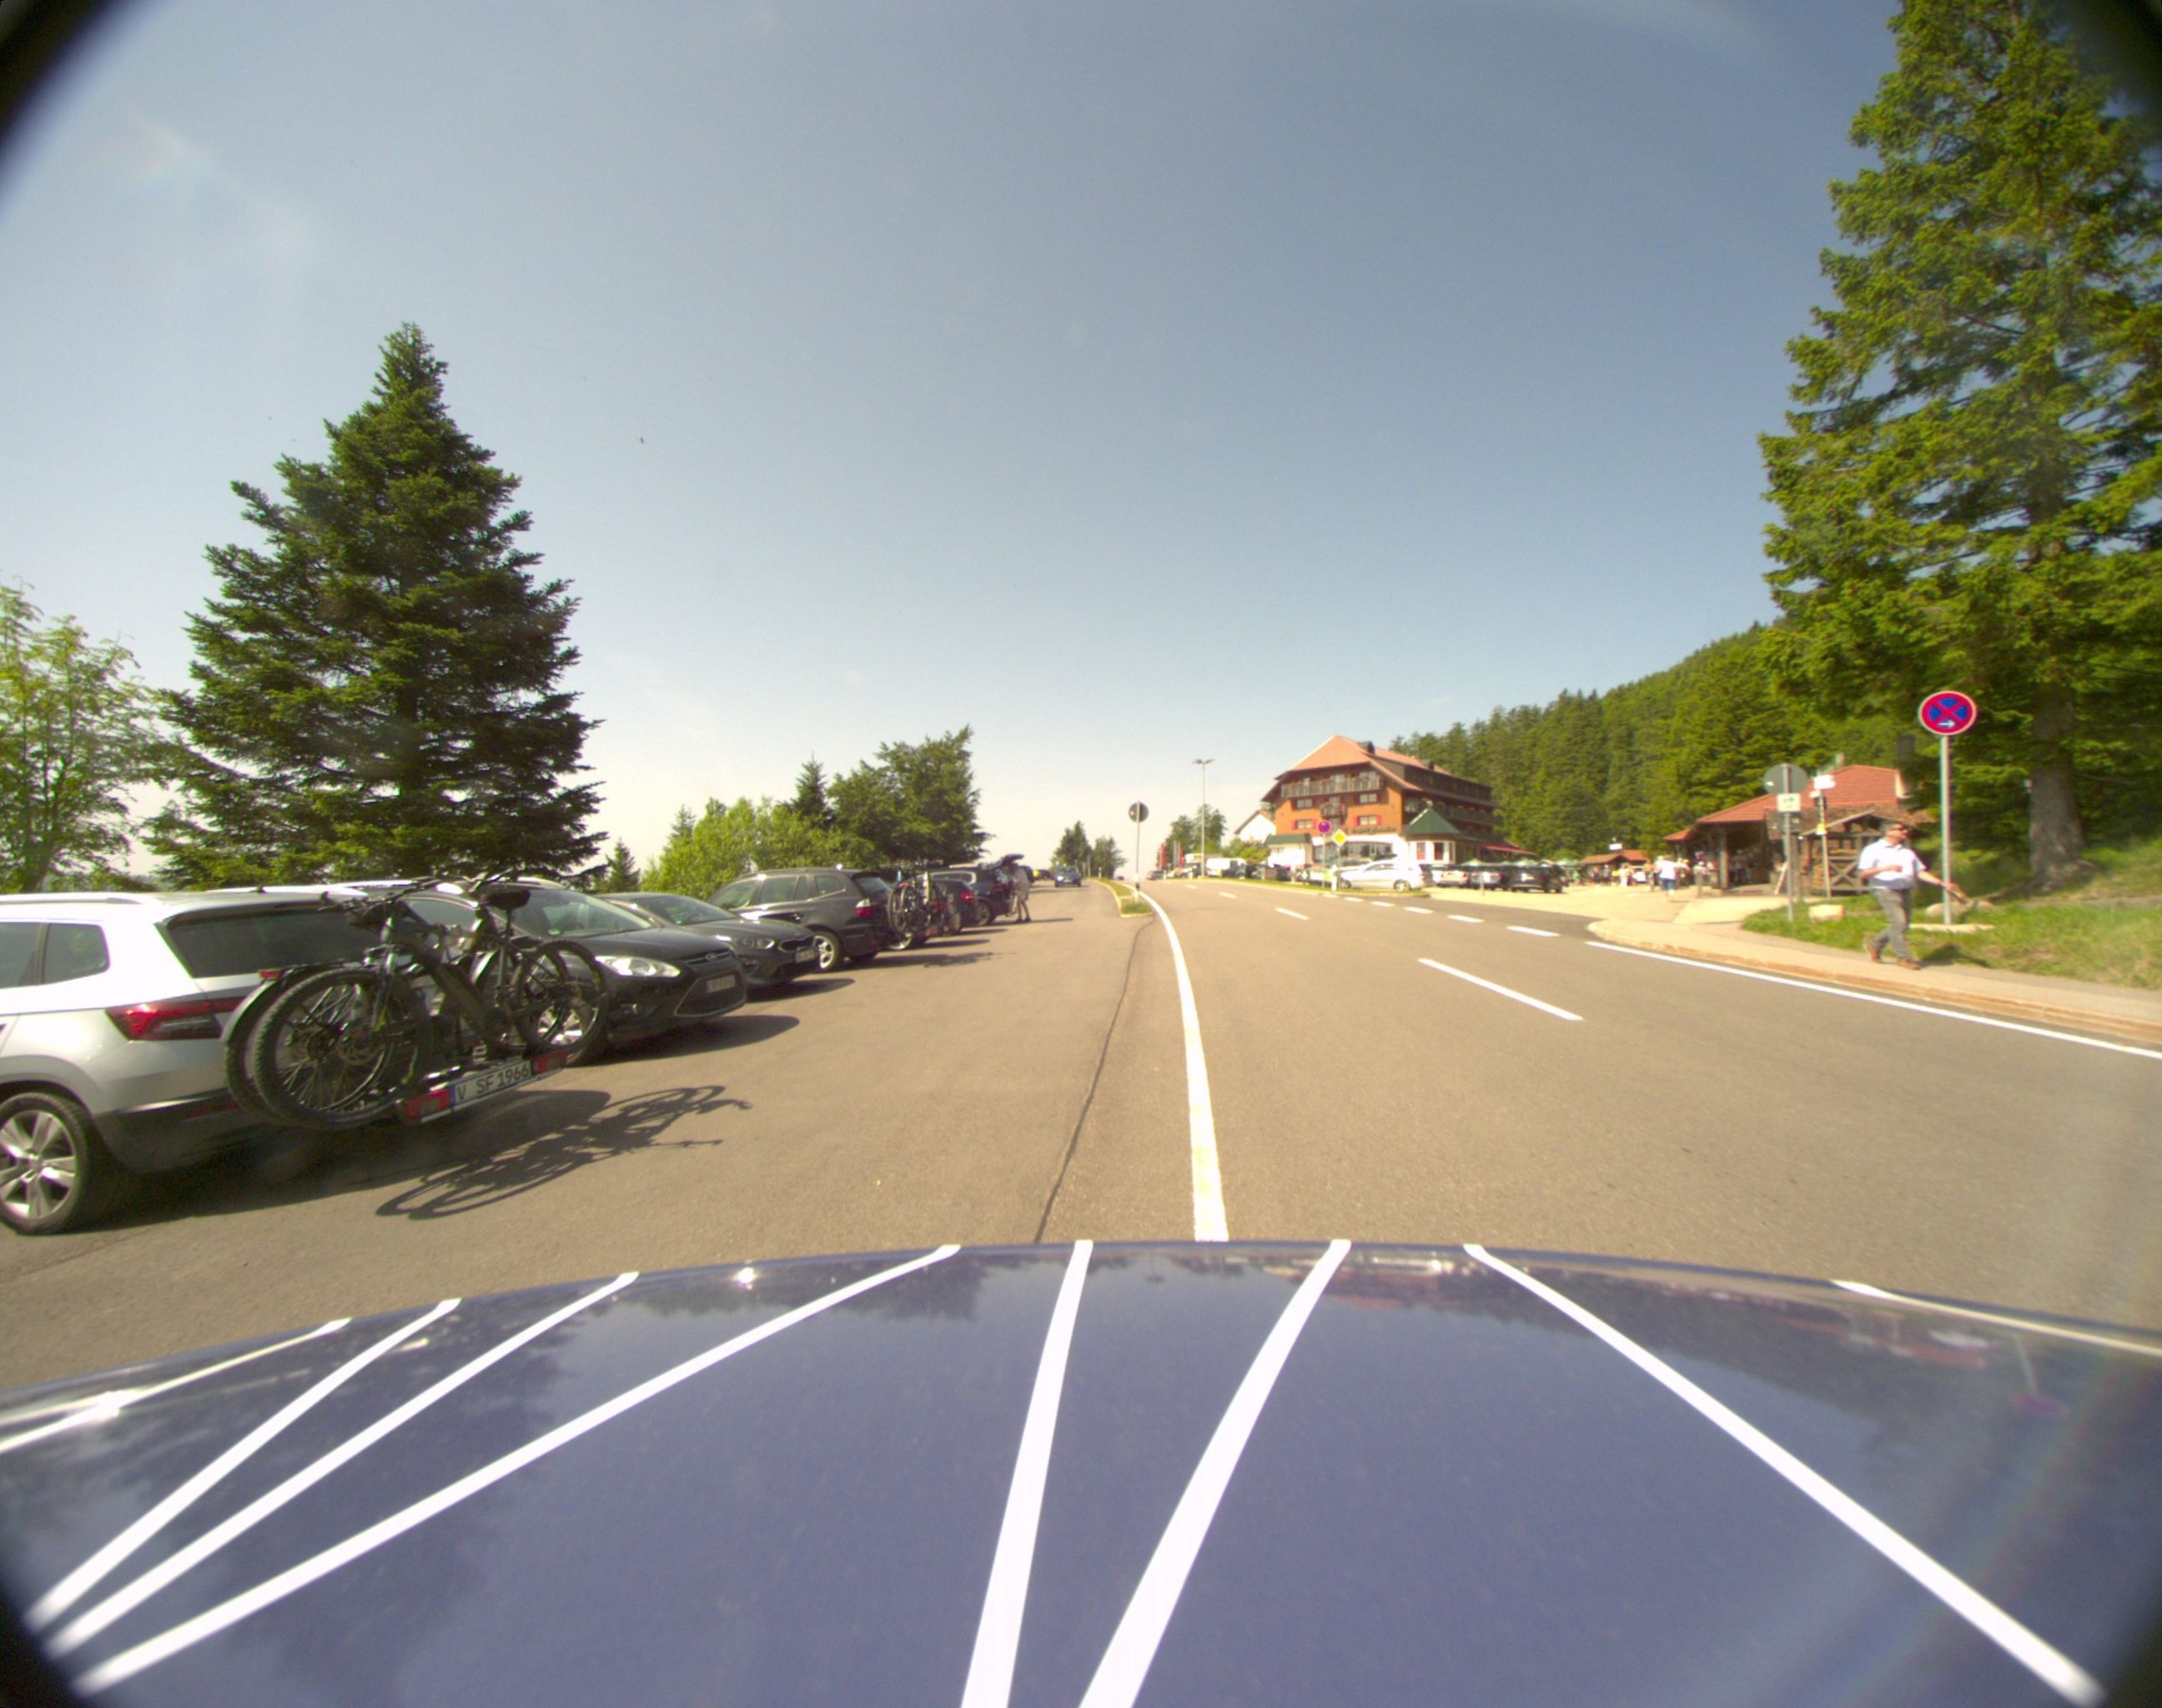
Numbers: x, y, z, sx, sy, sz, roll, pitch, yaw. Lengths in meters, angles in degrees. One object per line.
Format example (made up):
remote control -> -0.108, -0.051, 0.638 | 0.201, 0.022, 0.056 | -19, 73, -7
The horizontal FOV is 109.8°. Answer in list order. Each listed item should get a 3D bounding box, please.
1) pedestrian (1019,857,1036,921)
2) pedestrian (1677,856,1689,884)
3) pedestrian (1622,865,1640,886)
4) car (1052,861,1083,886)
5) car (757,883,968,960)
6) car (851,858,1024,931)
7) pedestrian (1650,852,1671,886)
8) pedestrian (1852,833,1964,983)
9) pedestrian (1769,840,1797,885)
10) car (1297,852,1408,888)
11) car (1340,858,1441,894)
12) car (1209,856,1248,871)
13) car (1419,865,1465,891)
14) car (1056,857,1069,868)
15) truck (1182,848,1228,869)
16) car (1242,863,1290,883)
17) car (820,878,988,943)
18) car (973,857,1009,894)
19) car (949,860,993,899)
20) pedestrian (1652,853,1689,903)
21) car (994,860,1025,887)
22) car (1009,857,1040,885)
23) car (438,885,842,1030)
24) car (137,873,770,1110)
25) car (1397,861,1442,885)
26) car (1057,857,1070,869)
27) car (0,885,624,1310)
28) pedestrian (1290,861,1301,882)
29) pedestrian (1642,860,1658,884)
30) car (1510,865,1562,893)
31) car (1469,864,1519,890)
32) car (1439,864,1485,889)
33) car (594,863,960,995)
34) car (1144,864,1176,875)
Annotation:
pedestrian -> -1.532, 0.998, 21.771 | 0.367, 1.812, 0.549 | -1, 0, 4
pedestrian -> 34.737, 0.902, 43.826 | 0.521, 1.613, 0.538 | -1, 0, 40
pedestrian -> 41.022, 1.614, 56.685 | 0.985, 1.487, 0.891 | -1, 0, 33
car -> -0.896, 1.299, 51.851 | 1.999, 1.537, 3.999 | -2, 0, -1
car -> -4.305, 1.326, 15.264 | 3.707, 1.260, 1.565 | -3, -1, 5
car -> -3.948, 1.099, 21.347 | 4.322, 1.811, 2.001 | -2, 0, 5
pedestrian -> 28.694, 0.725, 37.616 | 0.770, 1.657, 0.891 | -1, 0, 34
pedestrian -> 9.912, 0.626, 9.131 | 0.580, 1.731, 0.687 | -1, 0, 2
pedestrian -> 32.156, 0.394, 34.820 | 0.894, 2.002, 0.789 | -1, 1, 43
car -> 14.856, 0.858, 41.717 | 5.349, 1.858, 2.004 | -1, 0, 36
car -> 14.367, 0.999, 35.372 | 3.952, 1.578, 1.794 | -1, 0, 41
car -> 20.754, 1.310, 107.067 | 5.247, 1.894, 2.002 | -1, 0, 10
car -> 23.183, 1.524, 48.752 | 1.727, 1.456, 3.528 | -2, 0, 41
car -> -3.297, 1.506, 132.693 | 1.952, 1.970, 4.069 | -1, 0, -5
truck -> 18.761, 0.631, 114.304 | 2.862, 2.813, 8.778 | -2, 0, 38
car -> 14.874, 1.525, 61.057 | 1.719, 1.583, 3.325 | -1, 0, -42
car -> -4.220, 1.346, 18.577 | 3.683, 1.343, 1.738 | -2, 0, -1
car -> -5.376, 1.250, 45.853 | 1.999, 2.002, 3.998 | -2, 0, -6
car -> -5.590, 1.261, 39.057 | 1.866, 1.830, 3.882 | -2, 0, -3
pedestrian -> 20.747, 0.830, 26.731 | 0.638, 1.731, 0.910 | -1, 0, -41
car -> -4.929, 1.287, 51.960 | 1.999, 1.733, 3.998 | -2, 0, -6
car -> -4.313, 1.244, 57.756 | 2.000, 2.002, 3.997 | -1, 0, -9
car -> -5.572, 1.285, 9.841 | 4.321, 1.423, 1.691 | -4, -1, 8
car -> -5.459, 1.149, 6.953 | 4.428, 1.609, 1.753 | -4, 0, 5
car -> 23.078, 1.270, 51.766 | 1.710, 1.543, 3.141 | -1, 0, 45
car -> -2.982, 1.530, 127.823 | 1.999, 2.002, 3.999 | -2, 0, -3
car -> -5.405, 1.143, 4.233 | 4.485, 1.617, 2.014 | -3, 0, 5
pedestrian -> 17.470, 1.406, 61.827 | 0.779, 1.689, 0.684 | -1, 0, 7
pedestrian -> 38.922, 1.225, 51.960 | 0.534, 1.664, 0.681 | -1, 0, -34
car -> 23.595, 1.248, 39.371 | 1.708, 1.387, 3.323 | -1, -1, 42
car -> 22.918, 1.256, 42.141 | 1.714, 1.425, 3.323 | -1, -1, 42
car -> 22.820, 1.317, 45.471 | 1.636, 1.425, 3.323 | -1, -1, 42
car -> -4.816, 1.166, 12.467 | 5.111, 1.610, 2.001 | -5, -1, 6
car -> 10.978, 2.104, 105.704 | 4.001, 1.402, 1.998 | -2, 0, -13
